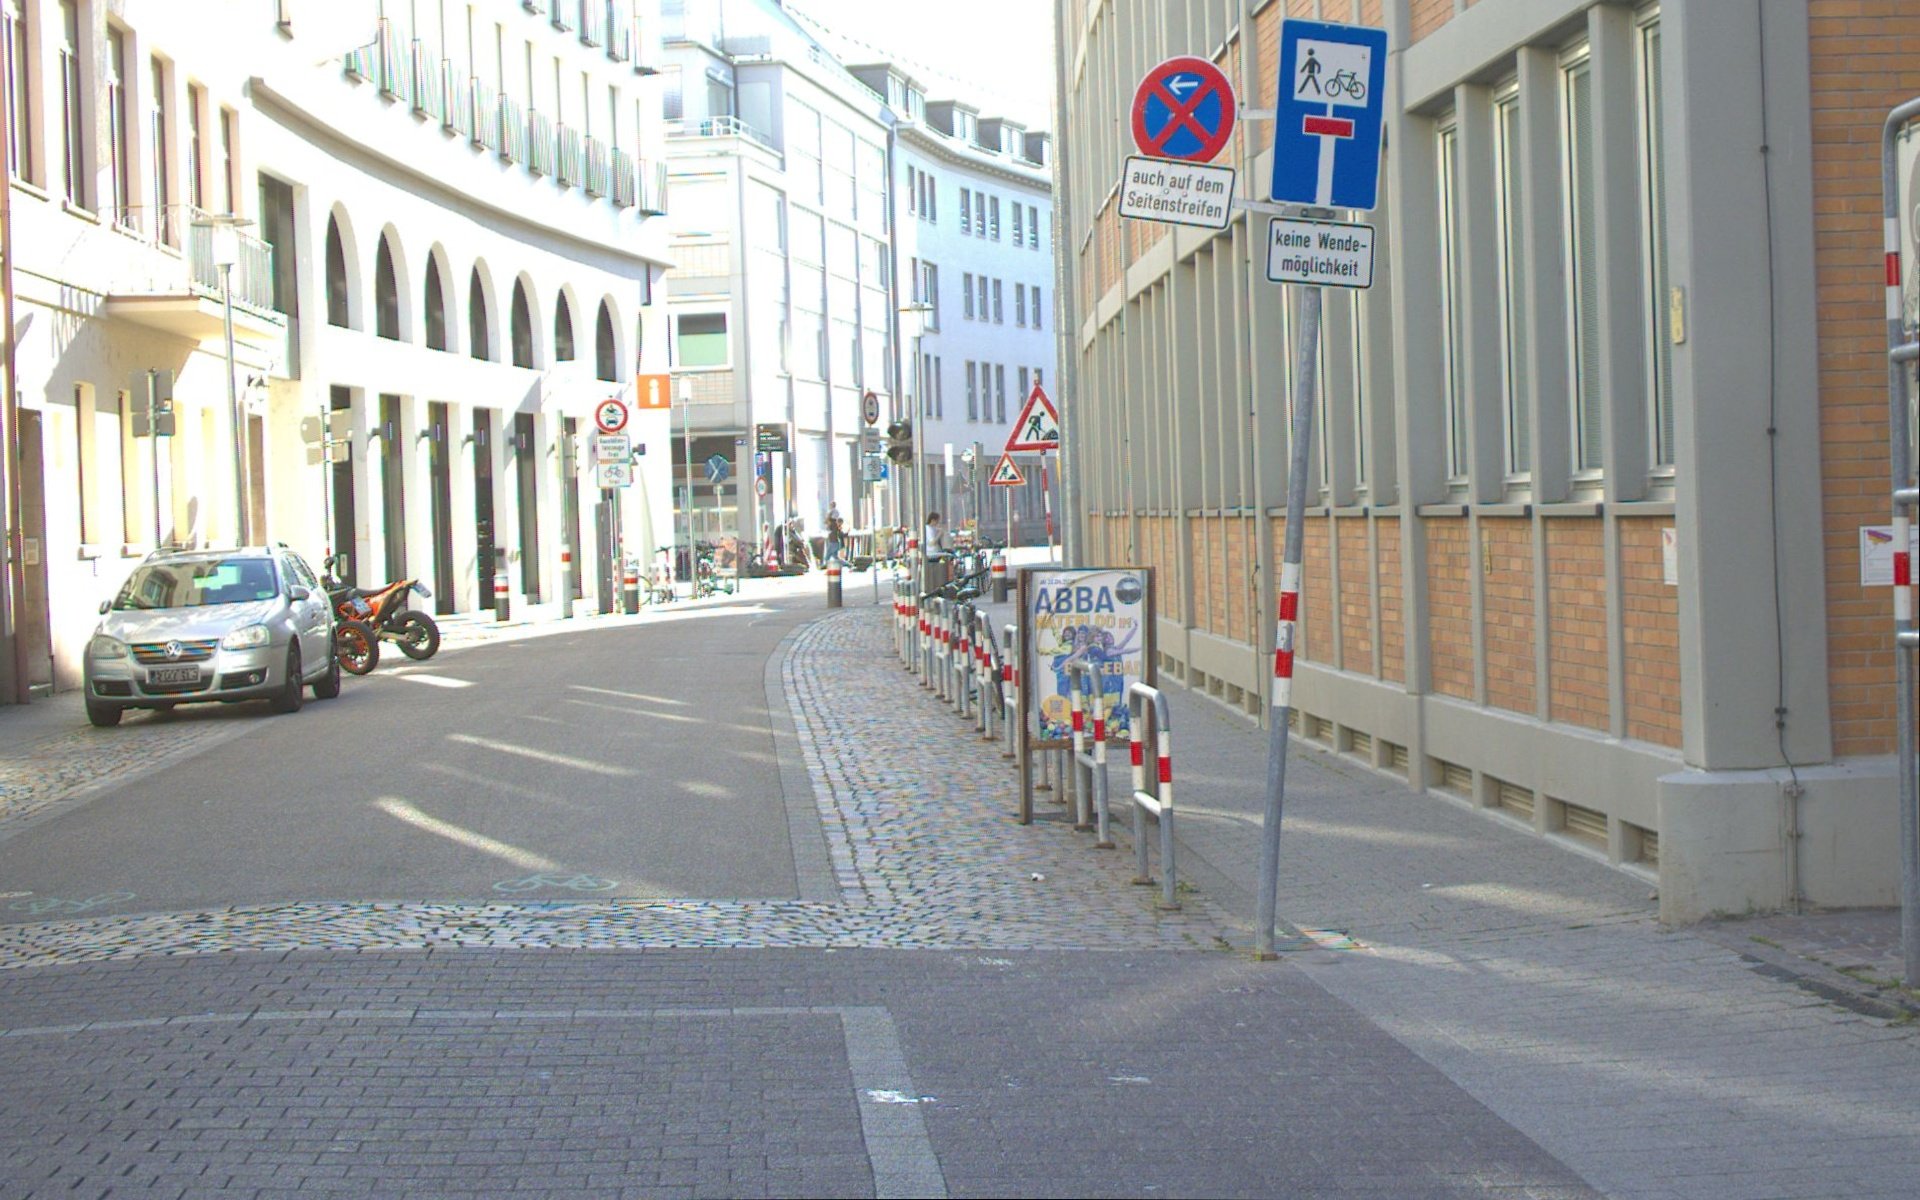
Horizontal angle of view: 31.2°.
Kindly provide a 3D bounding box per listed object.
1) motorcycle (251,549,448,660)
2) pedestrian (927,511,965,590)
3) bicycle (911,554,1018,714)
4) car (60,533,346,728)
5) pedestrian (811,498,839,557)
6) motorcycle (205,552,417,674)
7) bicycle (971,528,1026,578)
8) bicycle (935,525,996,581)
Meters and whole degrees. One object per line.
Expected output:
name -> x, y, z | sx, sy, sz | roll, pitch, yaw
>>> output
motorcycle -> -7.390, 0.052, 41.600 | 2.284, 1.241, 0.574 | -2, 2, 17
pedestrian -> -0.266, -0.929, 63.892 | 0.657, 1.436, 0.596 | -2, 1, -1
bicycle -> 0.020, 0.234, 25.775 | 0.636, 1.112, 1.931 | -2, 1, -4
car -> -6.592, 0.214, 30.314 | 1.765, 1.465, 3.814 | -3, 2, -3
pedestrian -> -3.577, -1.932, 91.194 | 0.657, 1.522, 0.482 | -2, 2, -1
motorcycle -> -7.109, 0.146, 37.645 | 2.207, 1.241, 0.574 | -2, 2, 17
bicycle -> 0.838, -1.017, 73.470 | 0.928, 0.957, 3.367 | -2, 2, 5
bicycle -> 0.123, -0.957, 68.700 | 0.928, 1.044, 3.367 | -1, 2, 5
